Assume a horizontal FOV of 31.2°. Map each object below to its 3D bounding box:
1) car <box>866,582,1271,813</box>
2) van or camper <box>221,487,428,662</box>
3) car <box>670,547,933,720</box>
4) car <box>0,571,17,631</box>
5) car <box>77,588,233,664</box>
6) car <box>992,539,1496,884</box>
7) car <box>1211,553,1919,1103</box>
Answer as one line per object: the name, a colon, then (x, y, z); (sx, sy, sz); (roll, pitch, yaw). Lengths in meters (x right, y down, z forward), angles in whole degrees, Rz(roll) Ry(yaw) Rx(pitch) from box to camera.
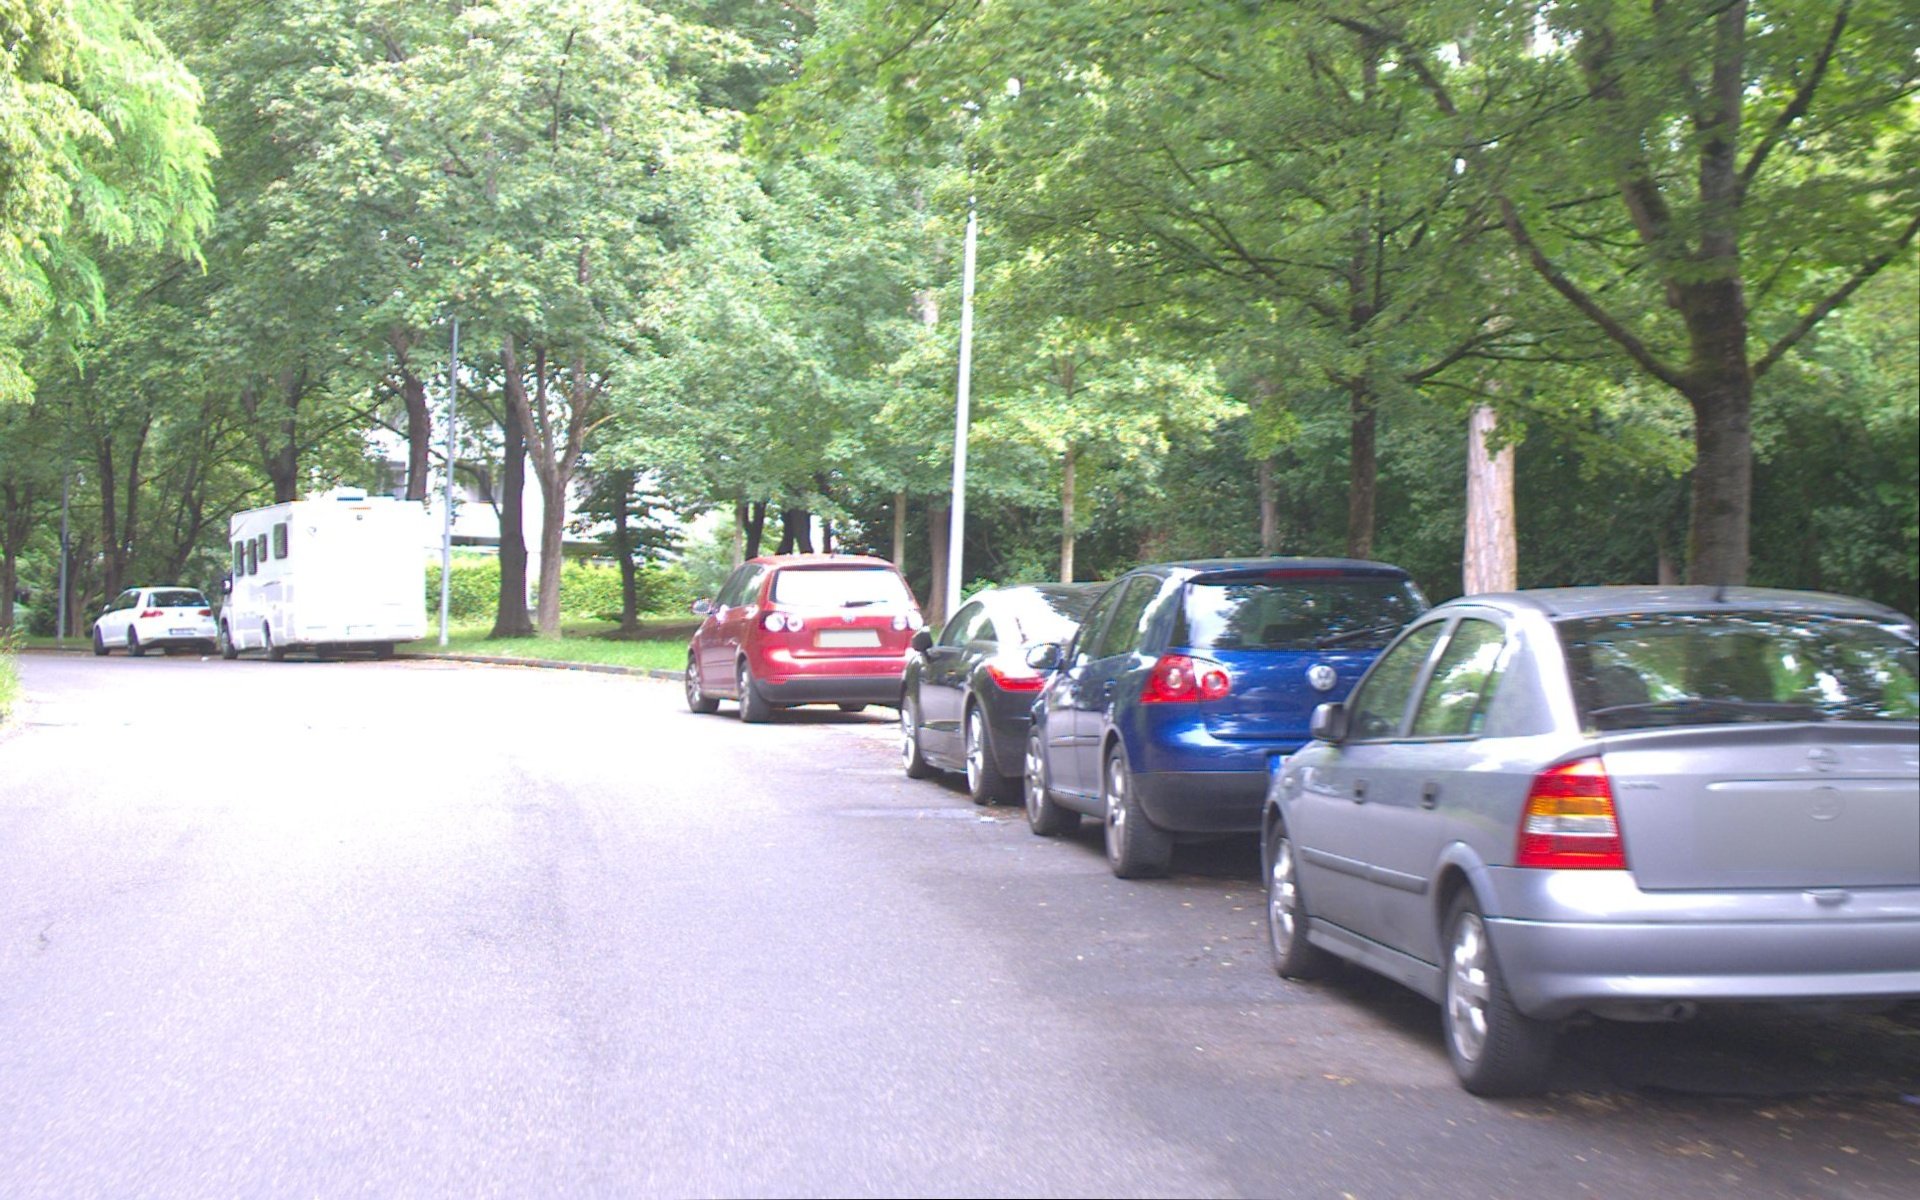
car: (0.589, 0.568, 22.424); (1.750, 1.332, 4.417); (1, 0, -10)
van or camper: (-11.449, -0.488, 61.631); (2.428, 2.997, 5.210); (-1, 1, -25)
car: (-1.592, 0.301, 33.152); (1.738, 1.557, 4.001); (0, 0, -15)
car: (-25.808, -0.050, 87.663); (1.994, 1.495, 3.999); (2, 0, -37)
car: (-17.253, 0.547, 73.565); (1.993, 1.468, 4.000); (2, 0, -32)
car: (1.318, 0.506, 17.705); (1.714, 1.504, 4.182); (2, 0, -7)
car: (2.003, 0.589, 11.007); (1.717, 1.426, 3.949); (0, 0, -6)
